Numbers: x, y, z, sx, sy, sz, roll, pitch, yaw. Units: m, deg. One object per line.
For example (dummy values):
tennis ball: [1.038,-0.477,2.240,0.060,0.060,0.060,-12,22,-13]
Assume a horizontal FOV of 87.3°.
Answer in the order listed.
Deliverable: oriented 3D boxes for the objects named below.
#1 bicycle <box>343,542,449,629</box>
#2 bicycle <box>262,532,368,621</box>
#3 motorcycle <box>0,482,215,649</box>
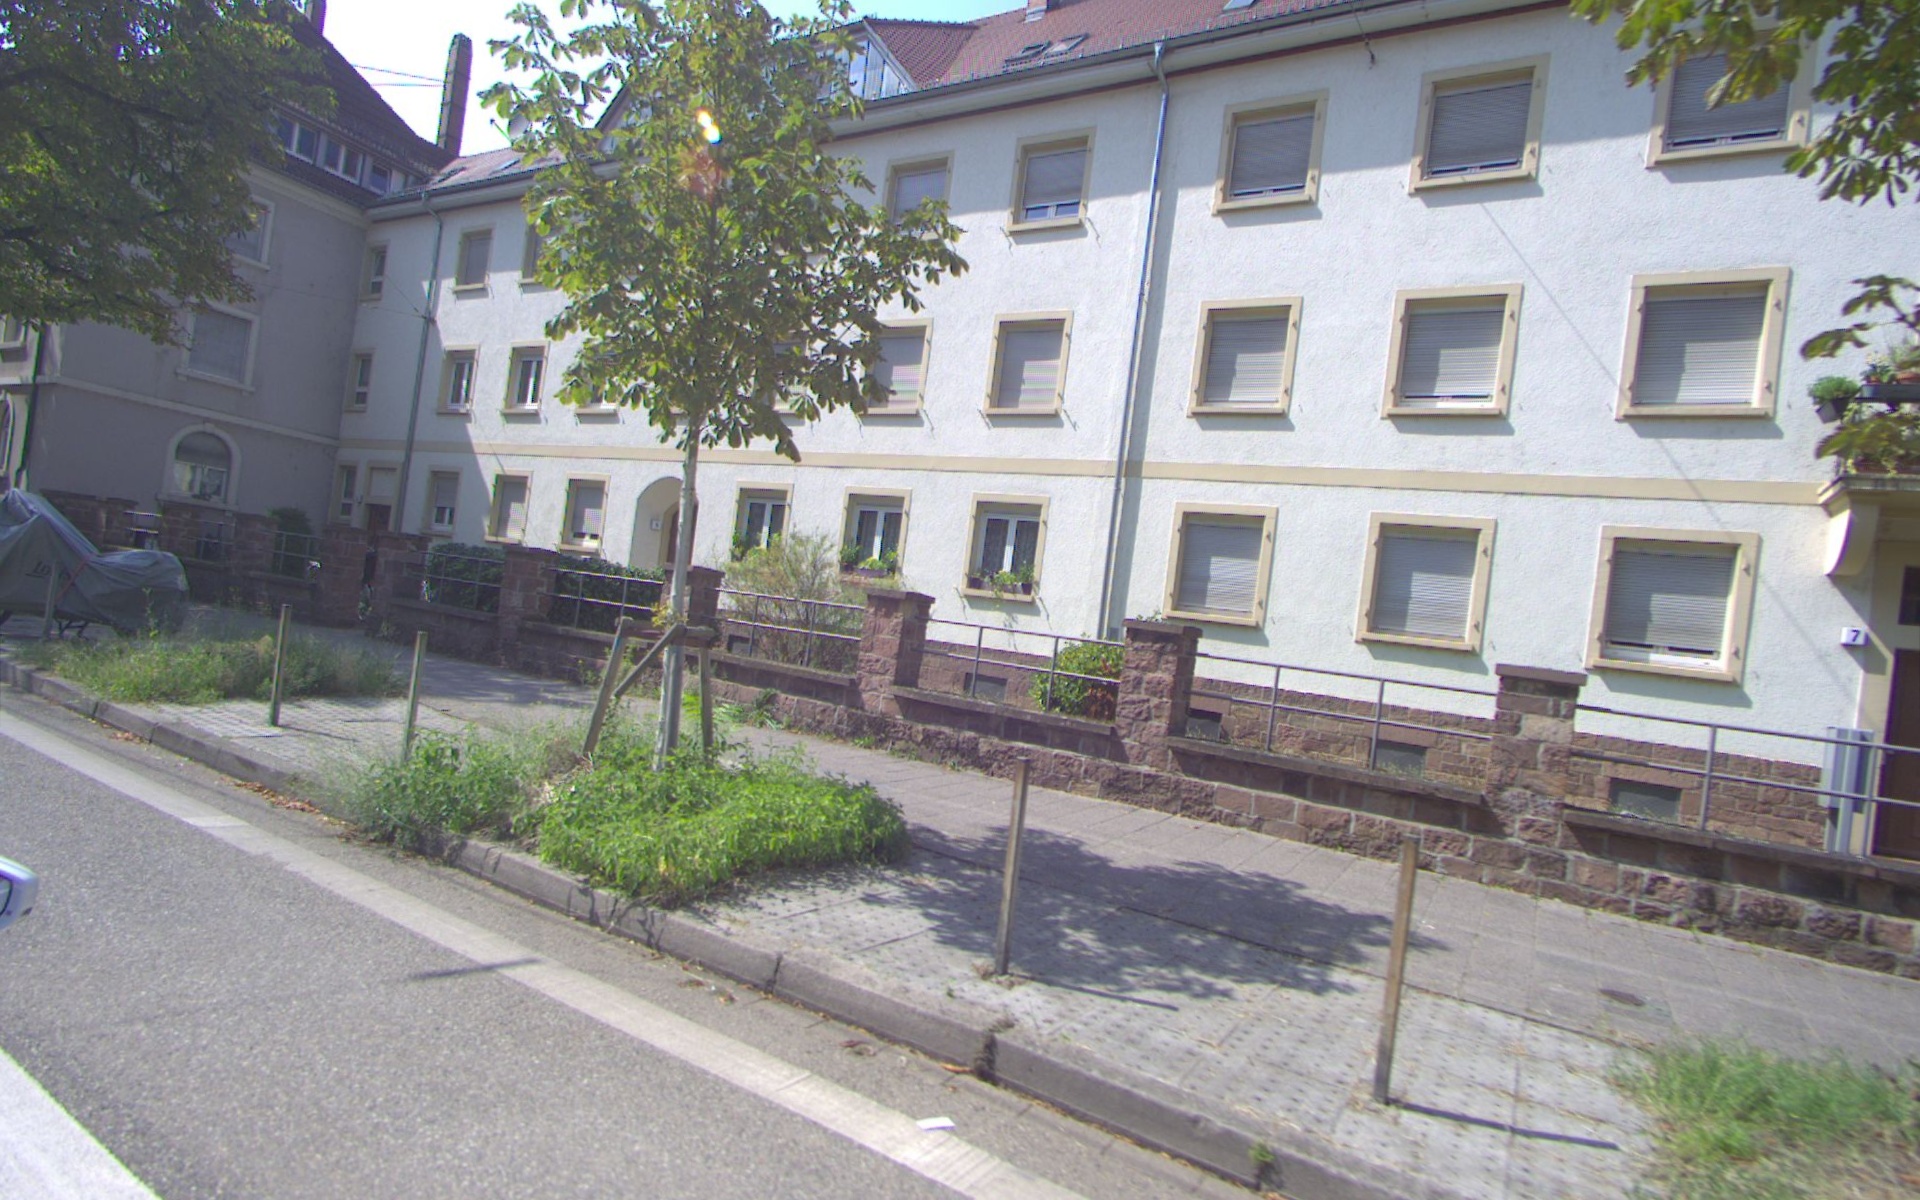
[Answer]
bicycle: [-10.492,-0.285,18.684,2.331,1.374,0.595,6,-1,34]
bicycle: [-11.608,-0.443,18.077,2.331,1.374,0.595,6,-1,34]
motorcycle: [-9.542,-0.376,10.685,2.311,1.559,0.965,5,-1,-18]
